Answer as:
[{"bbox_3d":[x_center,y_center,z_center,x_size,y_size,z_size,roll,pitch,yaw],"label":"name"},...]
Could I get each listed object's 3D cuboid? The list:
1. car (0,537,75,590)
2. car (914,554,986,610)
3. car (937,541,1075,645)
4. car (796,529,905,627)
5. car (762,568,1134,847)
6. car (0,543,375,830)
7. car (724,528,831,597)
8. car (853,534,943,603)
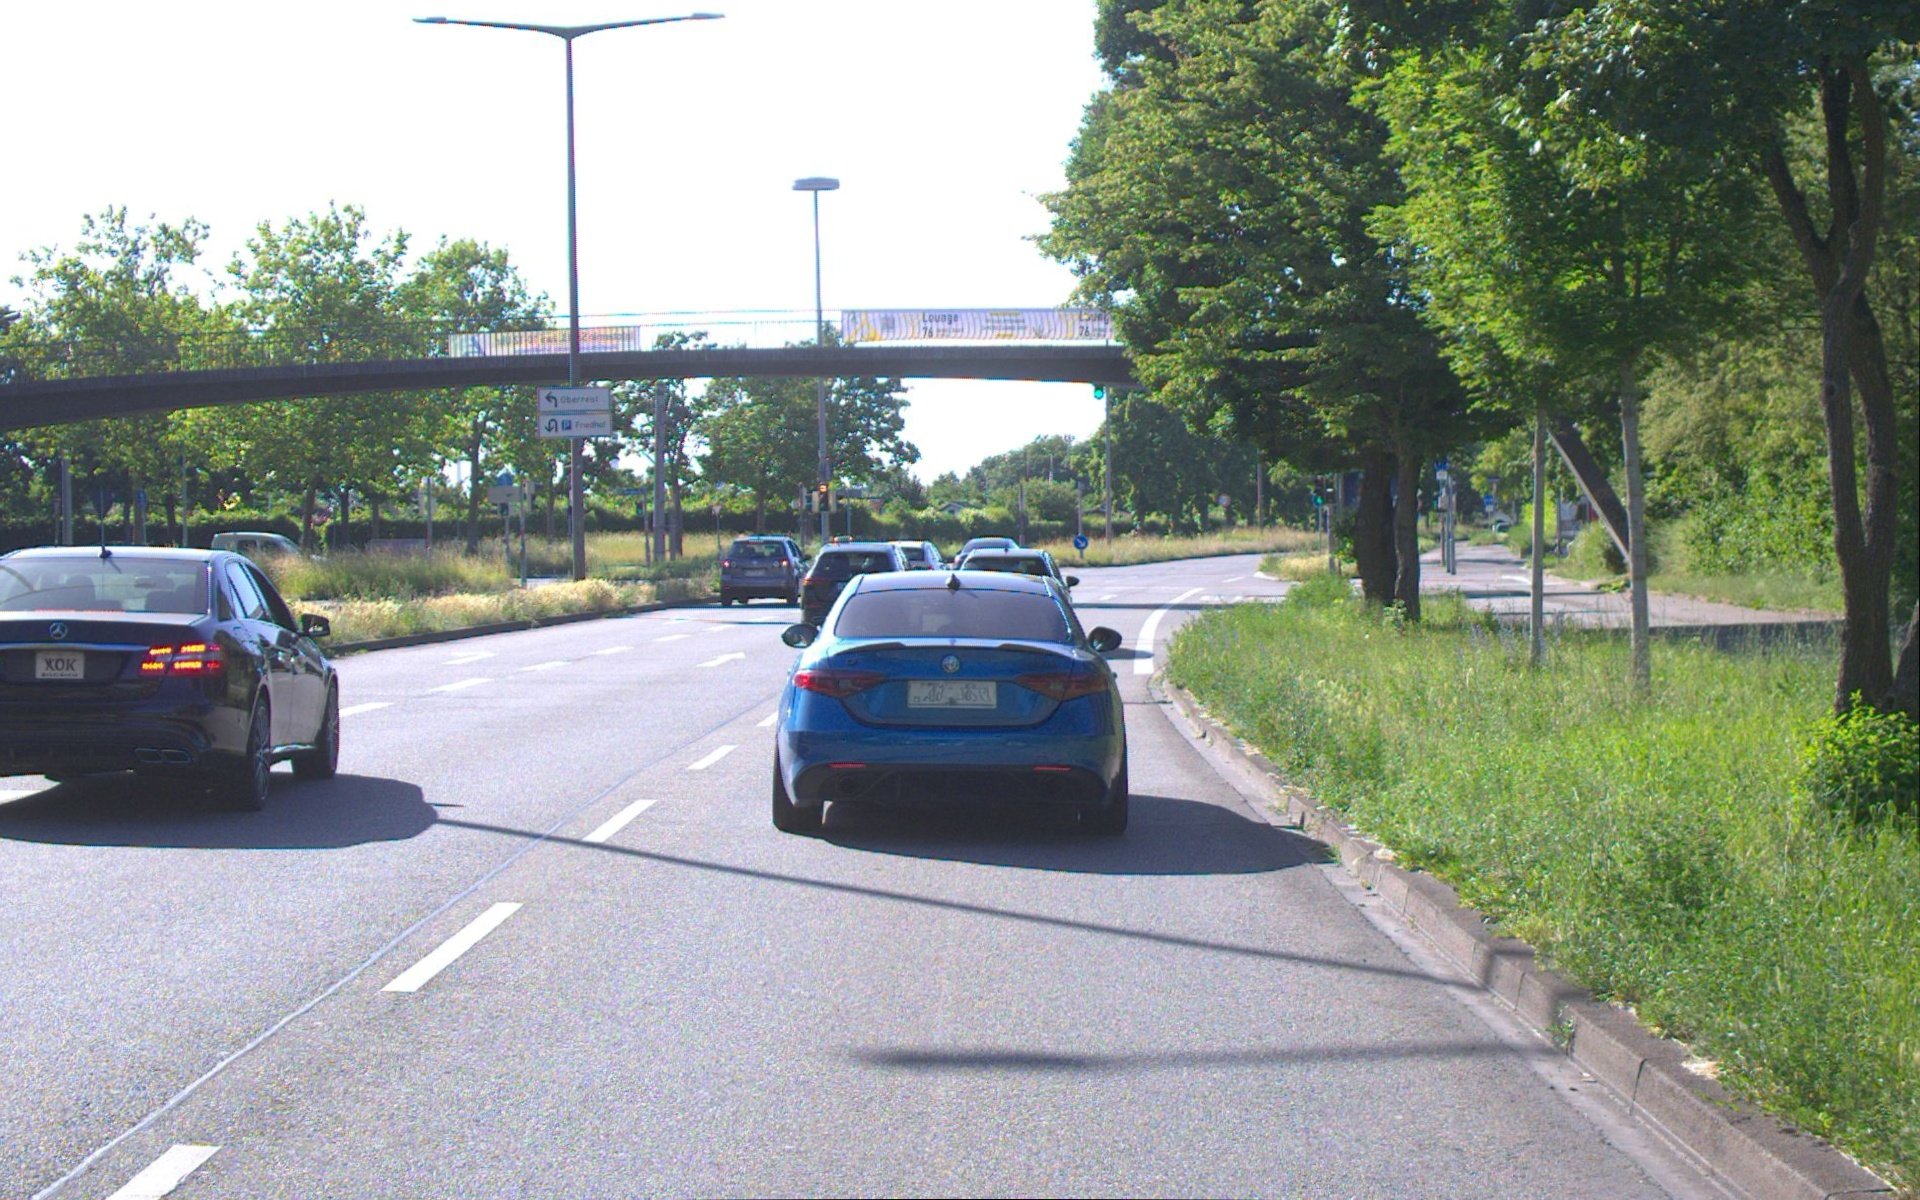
[{"bbox_3d":[-30.331,-1.154,108.437,4.311,1.645,1.998,0,1,19],"label":"car"},{"bbox_3d":[-0.292,-0.502,92.961,1.883,1.449,4.526,0,1,-1],"label":"car"},{"bbox_3d":[0.627,-0.125,50.314,1.883,1.449,4.526,0,1,-1],"label":"car"},{"bbox_3d":[-1.888,-0.389,58.183,1.707,1.592,4.224,0,1,-4],"label":"car"},{"bbox_3d":[-0.099,0.529,19.556,1.883,1.401,4.224,0,1,-1],"label":"car"},{"bbox_3d":[-4.850,0.414,20.334,1.959,1.478,4.918,-1,1,0],"label":"car"},{"bbox_3d":[-4.174,-0.863,79.182,1.797,1.550,3.729,0,1,8],"label":"car"},{"bbox_3d":[-1.355,-0.700,75.035,1.883,1.449,4.526,0,1,-1],"label":"car"}]
